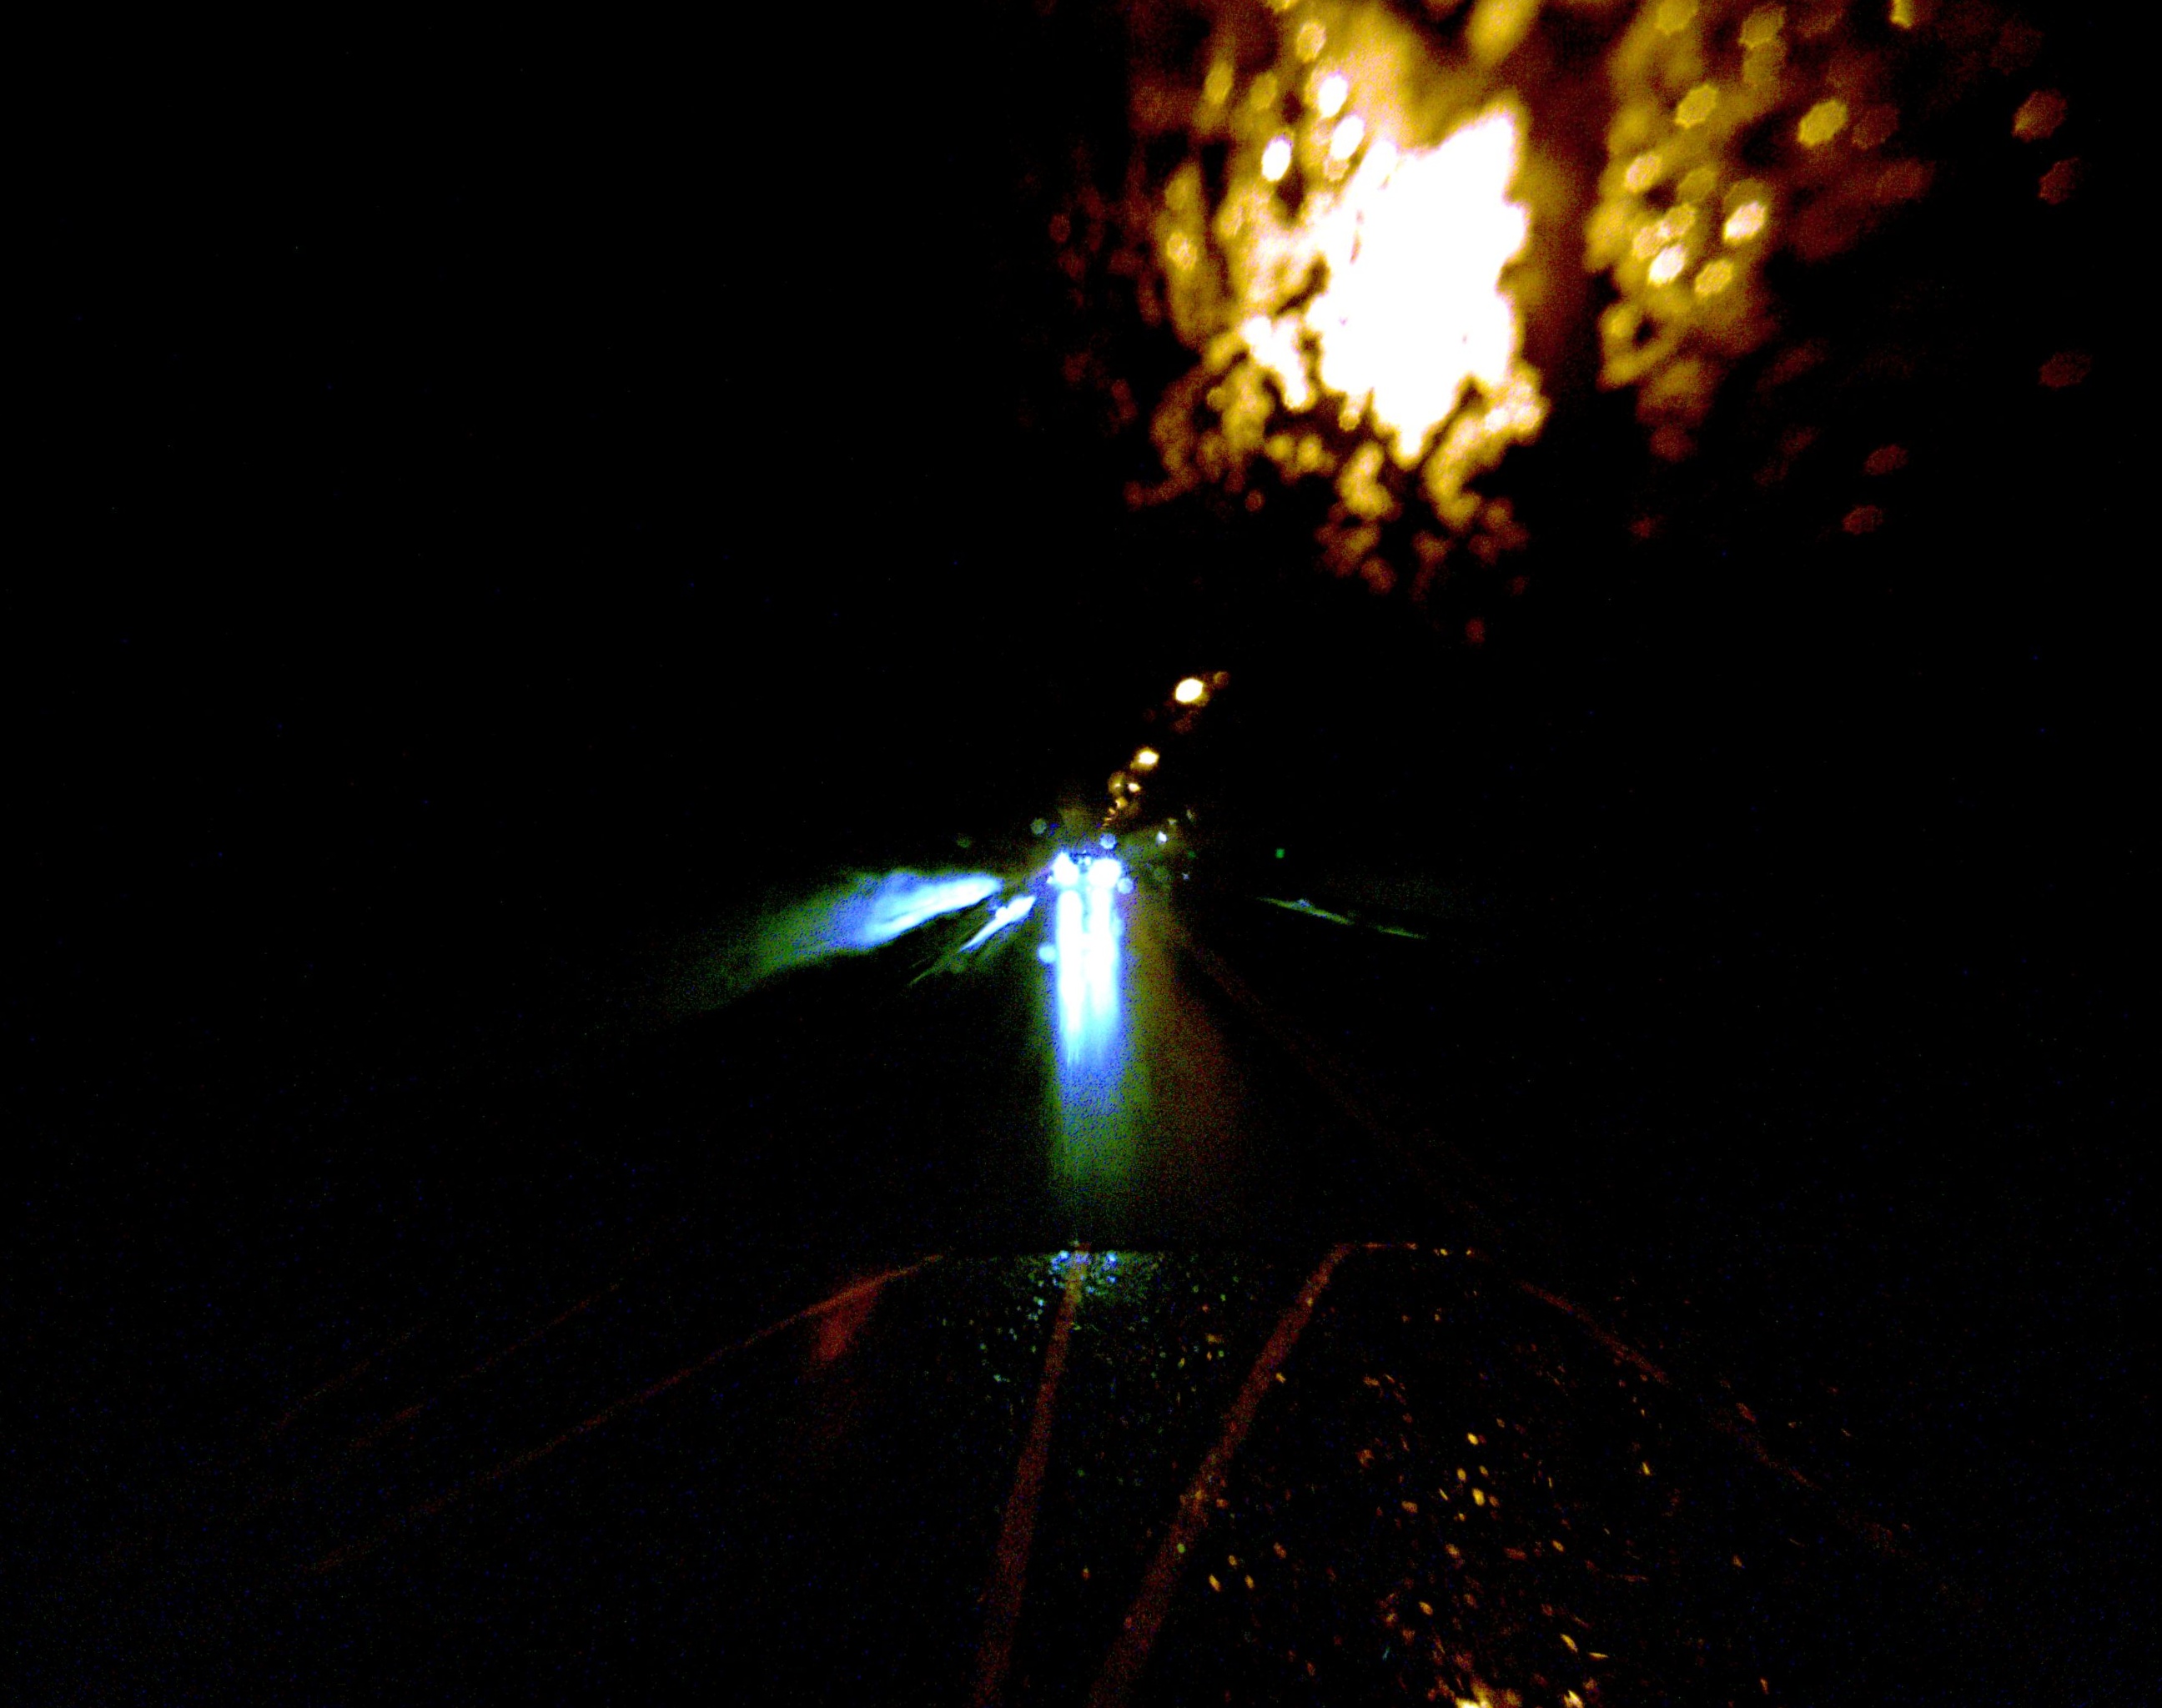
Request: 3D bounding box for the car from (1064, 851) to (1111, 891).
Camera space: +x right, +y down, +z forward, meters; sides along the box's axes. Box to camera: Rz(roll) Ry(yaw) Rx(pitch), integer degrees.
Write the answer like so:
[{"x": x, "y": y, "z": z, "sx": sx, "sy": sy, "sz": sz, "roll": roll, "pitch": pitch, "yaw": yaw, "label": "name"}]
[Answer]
[{"x": 0.298, "y": 0.750, "z": 35.929, "sx": 1.999, "sy": 1.547, "sz": 3.998, "roll": -3, "pitch": 2, "yaw": 0, "label": "car"}]
